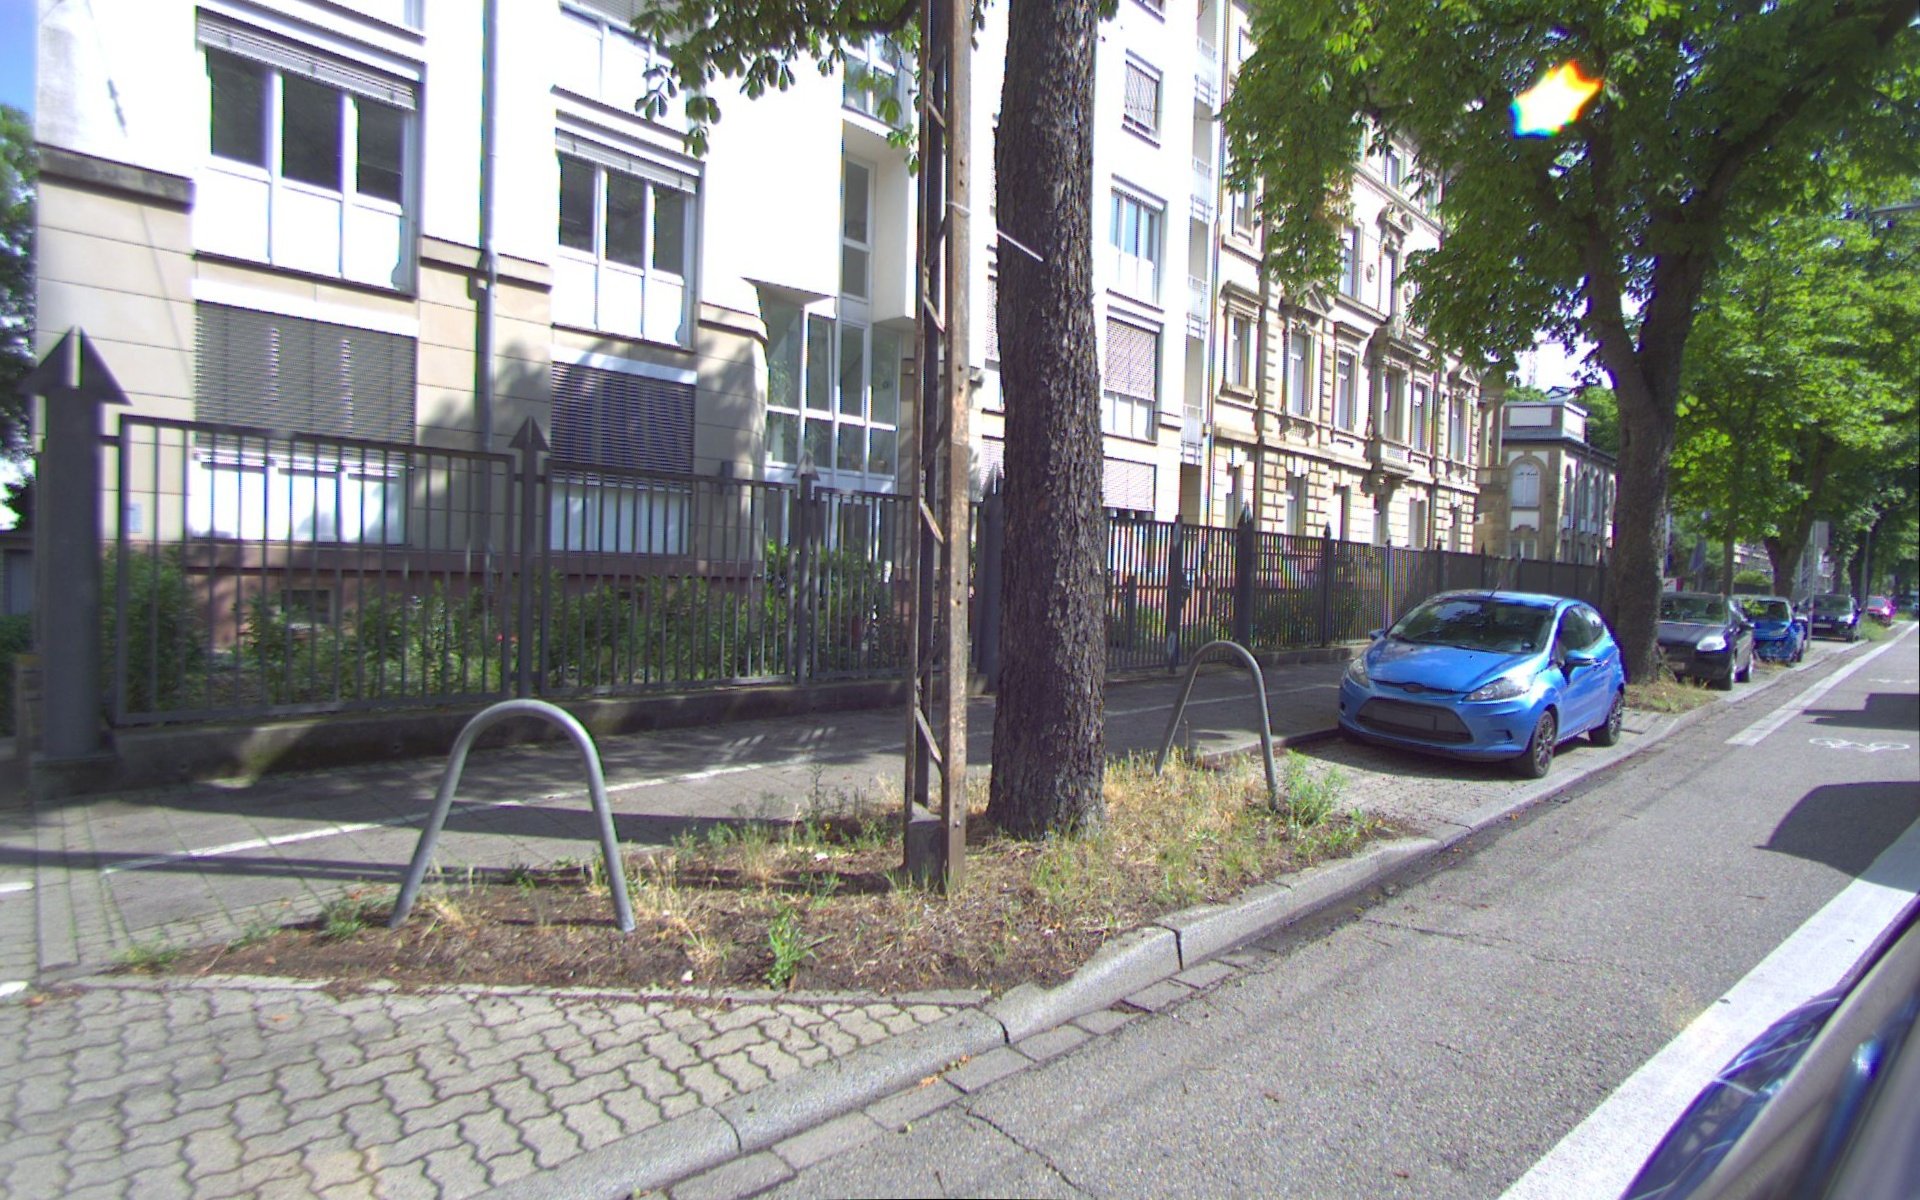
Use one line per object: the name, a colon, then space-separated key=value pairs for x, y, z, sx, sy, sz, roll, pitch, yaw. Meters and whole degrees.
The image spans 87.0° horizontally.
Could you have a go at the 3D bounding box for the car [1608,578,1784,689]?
car: x=12.192 y=0.481 z=16.690 sx=3.562 sy=1.526 sz=1.643 roll=0 pitch=4 yaw=-43

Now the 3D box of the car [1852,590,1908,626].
car: x=46.827 y=0.374 z=51.508 sx=4.130 sy=1.591 sz=1.772 roll=0 pitch=4 yaw=-44

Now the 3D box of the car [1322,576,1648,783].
car: x=5.039 y=0.574 z=9.501 sx=1.639 sy=1.472 sz=3.639 roll=6 pitch=4 yaw=45

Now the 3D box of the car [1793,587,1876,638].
car: x=30.842 y=0.402 z=35.674 sx=4.130 sy=1.549 sz=1.772 roll=0 pitch=4 yaw=-44

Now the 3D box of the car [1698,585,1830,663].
car: x=17.818 y=0.469 z=22.376 sx=3.861 sy=1.469 sz=1.722 roll=0 pitch=5 yaw=-44
